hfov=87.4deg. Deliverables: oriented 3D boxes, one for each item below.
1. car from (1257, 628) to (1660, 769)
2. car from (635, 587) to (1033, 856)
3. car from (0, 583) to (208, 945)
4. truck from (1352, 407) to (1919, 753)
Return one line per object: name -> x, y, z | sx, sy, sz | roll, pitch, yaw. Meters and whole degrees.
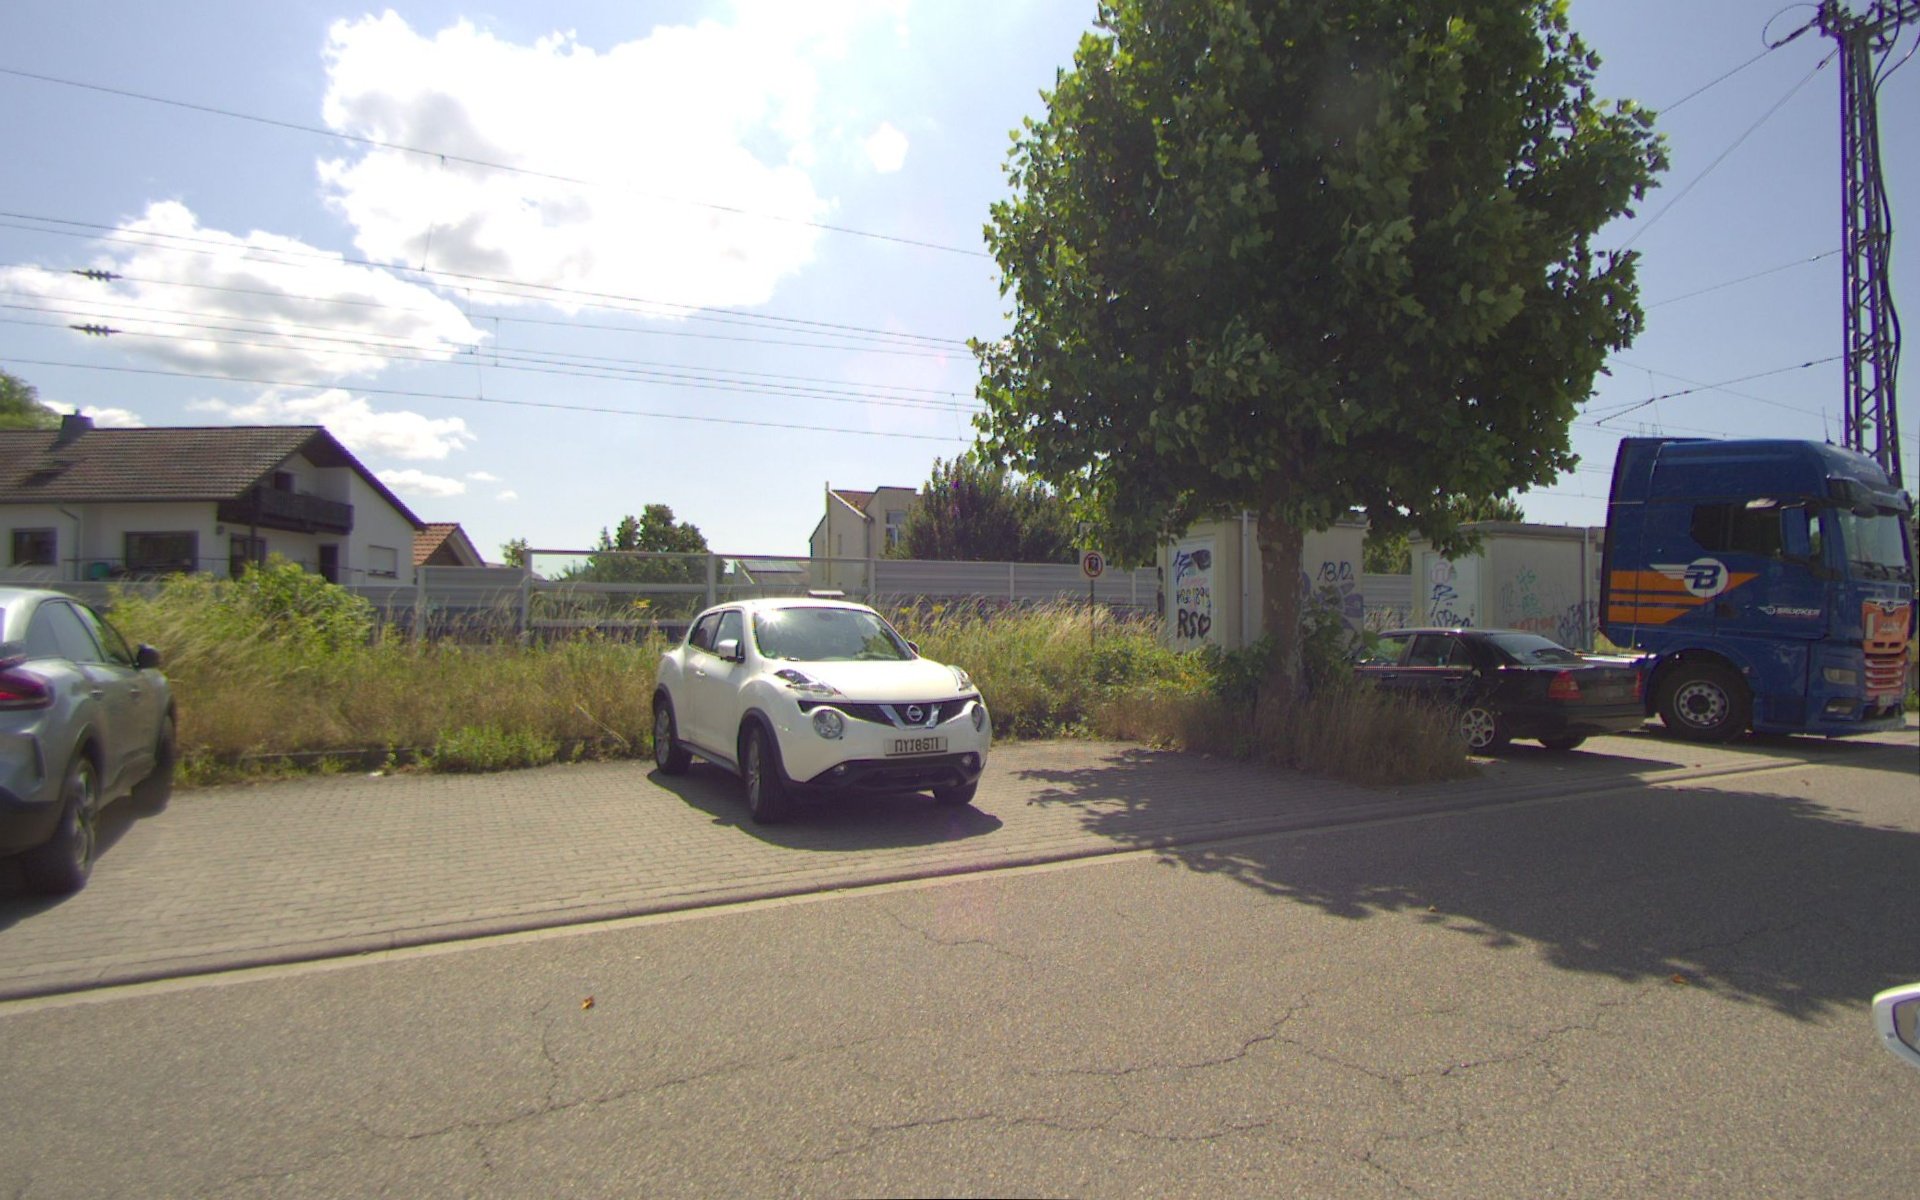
car -> 5.902, 1.063, 12.444 | 1.850, 1.413, 4.189 | 1, -2, -30
car -> -1.282, 0.809, 8.312 | 1.830, 1.639, 3.950 | 1, -2, -31
car -> -5.820, 0.739, 5.690 | 1.976, 1.568, 3.969 | 1, -2, -30
truck -> 9.384, -0.114, 14.770 | 2.632, 3.873, 6.584 | 1, -2, -30
